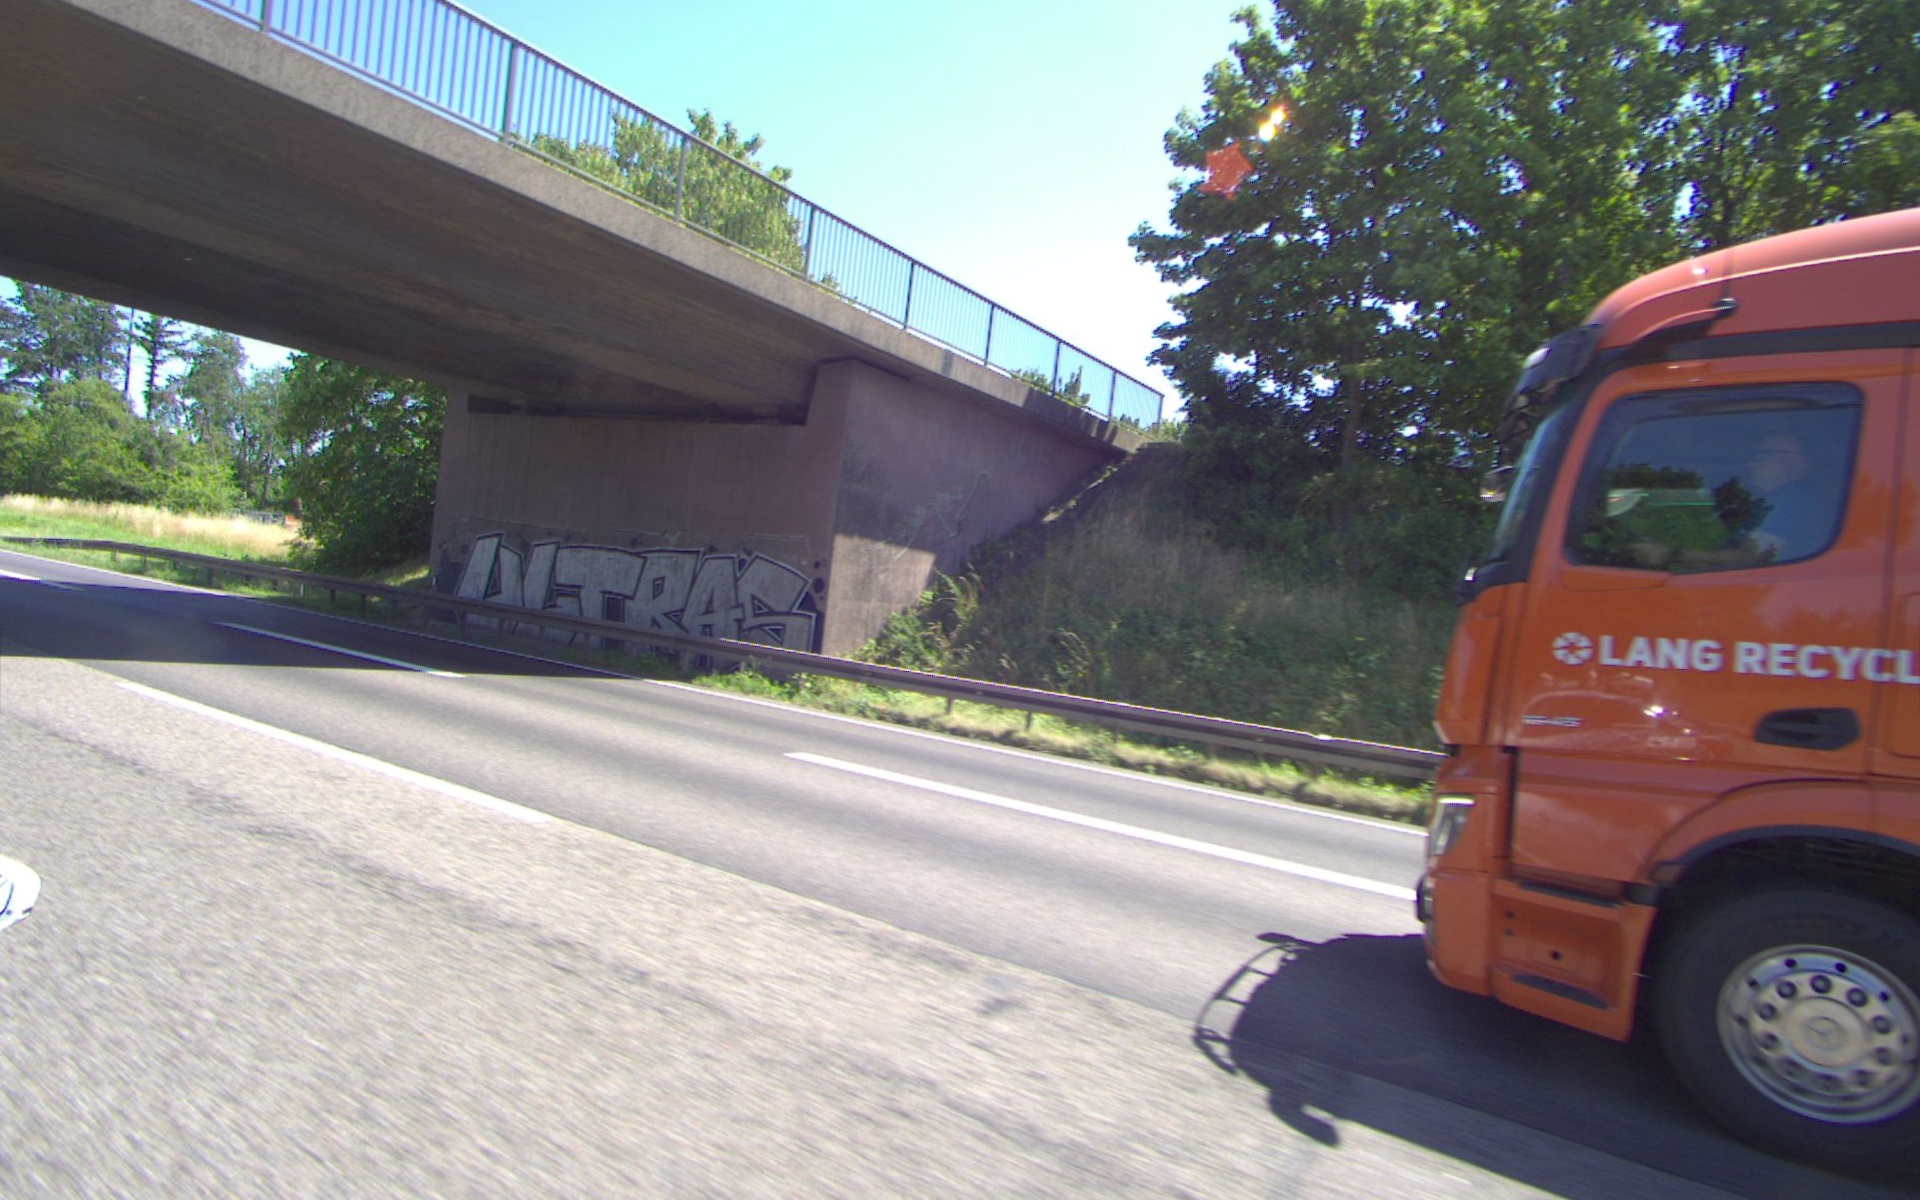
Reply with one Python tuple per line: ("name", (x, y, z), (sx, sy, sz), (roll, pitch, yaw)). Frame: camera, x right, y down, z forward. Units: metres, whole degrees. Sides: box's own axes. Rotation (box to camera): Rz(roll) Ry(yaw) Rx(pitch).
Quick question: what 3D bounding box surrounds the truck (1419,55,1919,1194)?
("truck", (7.994, 0.630, 2.112), (12.268, 3.842, 2.686), (7, -1, 31))
